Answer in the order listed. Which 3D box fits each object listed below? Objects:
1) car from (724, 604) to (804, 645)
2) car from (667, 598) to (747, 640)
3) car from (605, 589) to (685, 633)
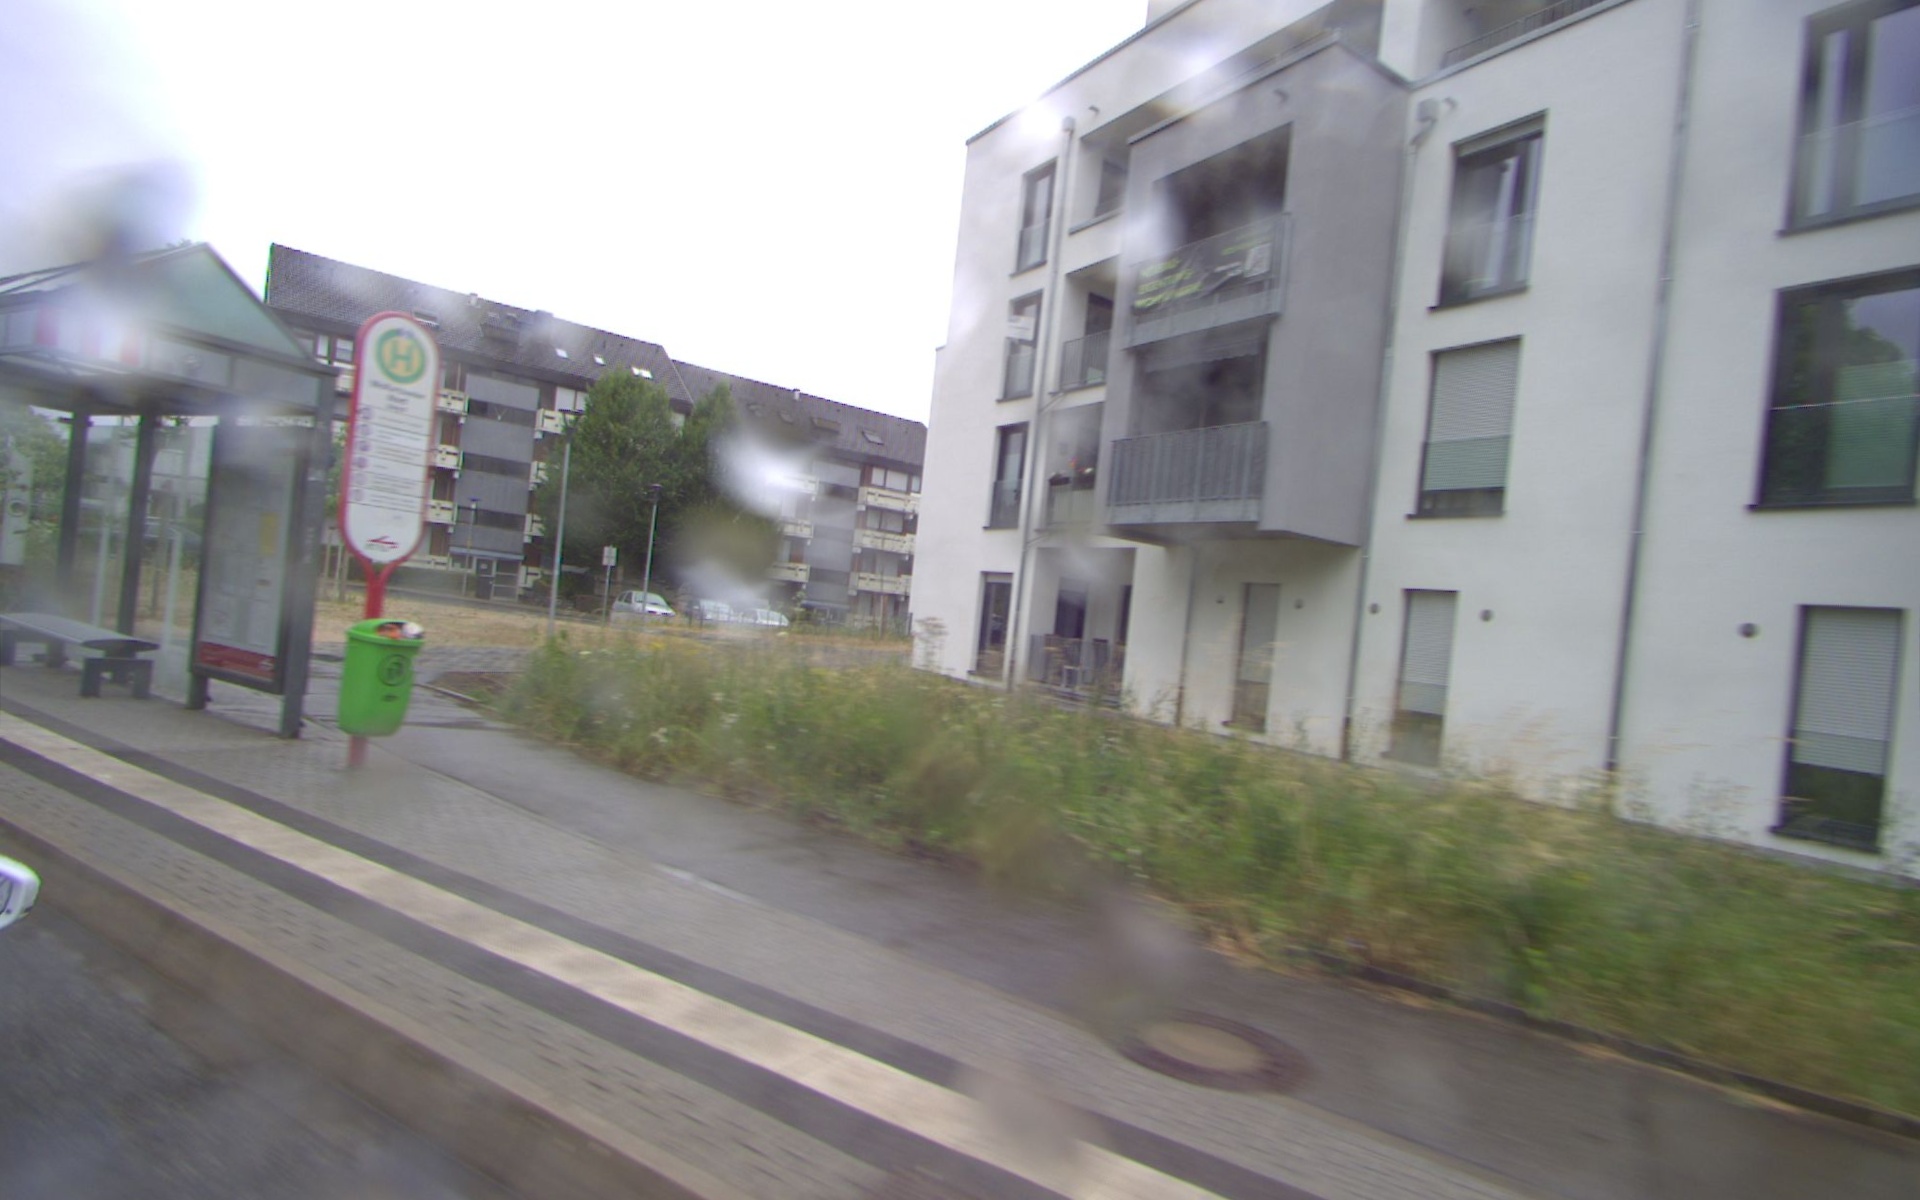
[{"bbox_3d":[-8.175,1.008,41.839,1.708,1.457,3.672,8,-4,-37],"label":"car"},{"bbox_3d":[-10.206,0.732,40.403,1.708,1.457,3.672,8,-4,-37],"label":"car"},{"bbox_3d":[-12.279,0.418,39.106,1.708,1.457,3.672,8,-4,-37],"label":"car"}]
